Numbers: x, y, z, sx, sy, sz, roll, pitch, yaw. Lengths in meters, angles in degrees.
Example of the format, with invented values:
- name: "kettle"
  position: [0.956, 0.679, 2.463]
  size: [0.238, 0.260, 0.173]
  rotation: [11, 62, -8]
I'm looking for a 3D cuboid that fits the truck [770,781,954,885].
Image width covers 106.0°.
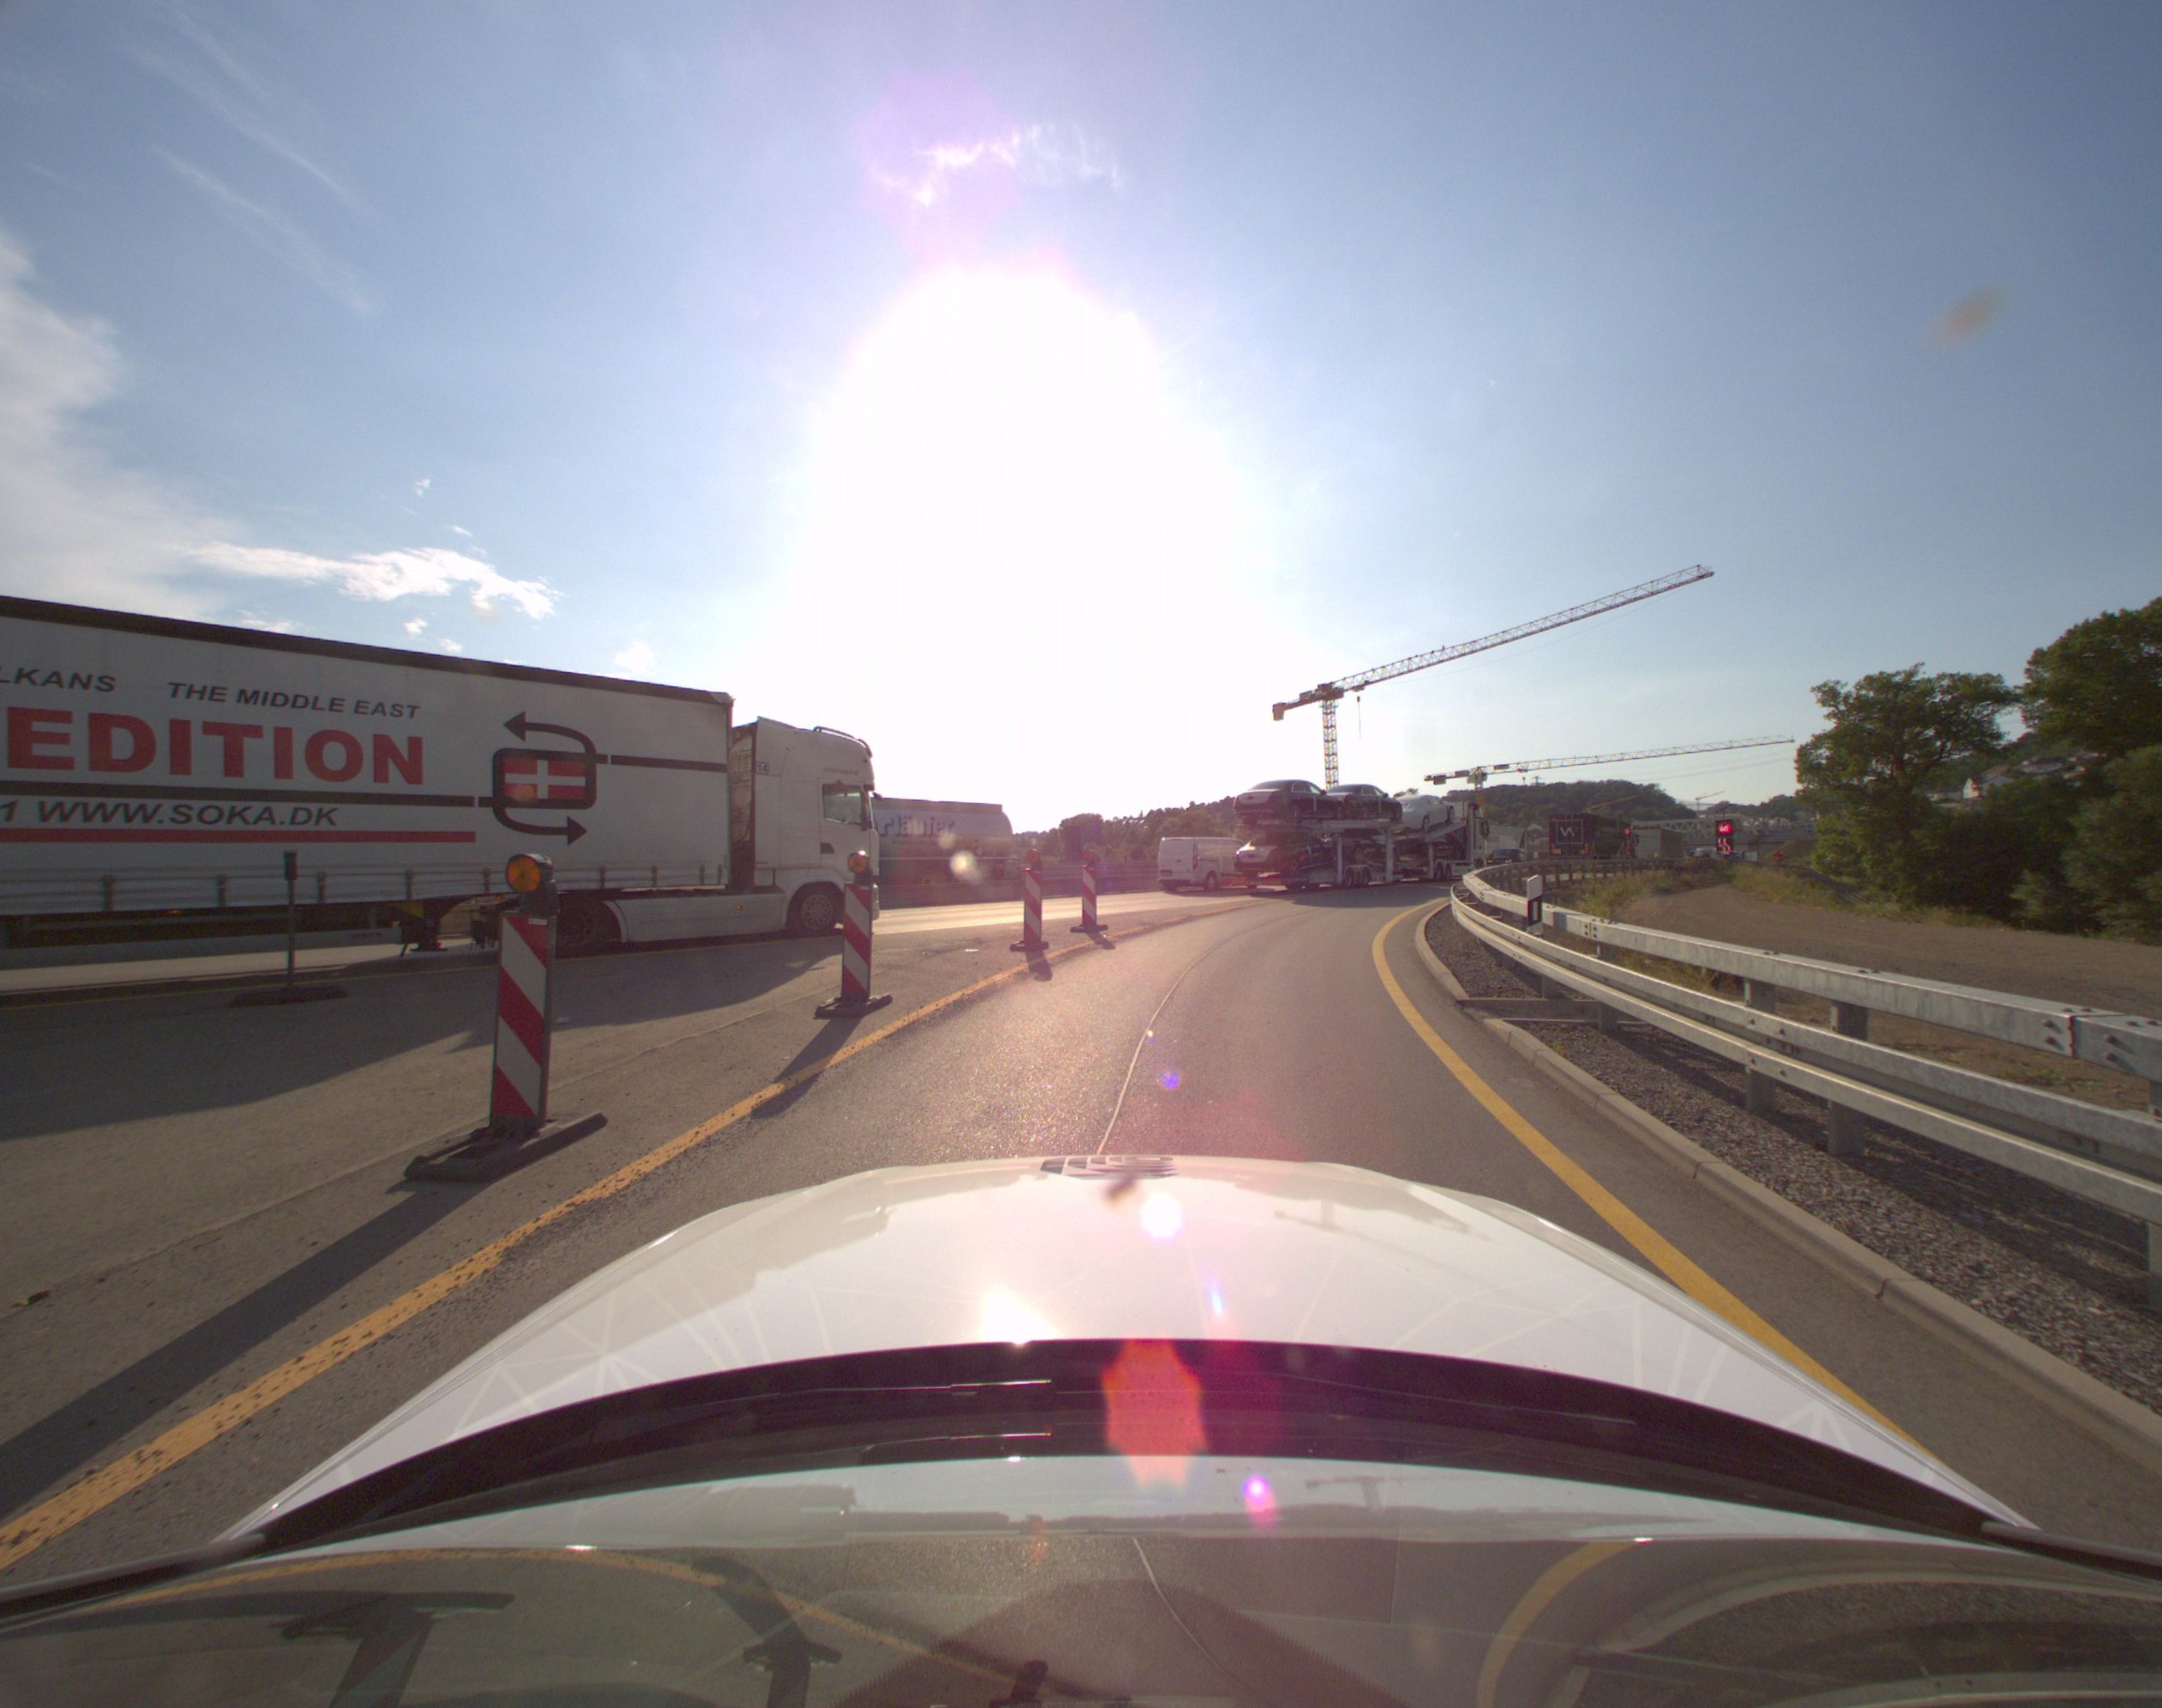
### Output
- name: "truck"
  position: [-7.274, -0.598, 27.632]
  size: [2.120, 3.135, 5.722]
  rotation: [-4, -3, 43]

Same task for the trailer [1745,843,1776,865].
- name: "trailer"
  position: [143.705, 0.071, 172.109]
  size: [4.058, 4.314, 14.336]
  rotation: [-3, -2, 43]

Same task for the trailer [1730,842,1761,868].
- name: "trailer"
  position: [117.033, 0.253, 143.375]
  size: [3.074, 4.314, 14.336]
  rotation: [-3, -2, 43]

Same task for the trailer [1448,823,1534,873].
- name: "trailer"
  position: [37.217, -0.465, 73.541]
  size: [2.603, 4.067, 14.162]
  rotation: [-4, -3, 44]

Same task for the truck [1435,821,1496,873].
- name: "truck"
  position: [32.327, -0.497, 68.440]
  size: [2.603, 4.067, 6.166]
  rotation: [-4, -4, 44]

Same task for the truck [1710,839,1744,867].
- name: "truck"
  position: [96.137, -0.123, 121.152]
  size: [3.358, 3.997, 6.664]
  rotation: [-3, -2, 43]

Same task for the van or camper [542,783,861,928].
- name: "van or camper"
  position: [-7.899, 0.061, 17.599]
  size: [1.975, 2.620, 5.939]
  rotation: [-2, -2, 43]

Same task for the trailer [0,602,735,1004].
- name: "trailer"
  position: [-11.123, -0.465, 8.911]
  size: [2.457, 3.879, 13.712]
  rotation: [-2, -2, 43]

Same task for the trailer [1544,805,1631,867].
- name: "trailer"
  position: [37.116, -1.153, 59.416]
  size: [2.931, 4.092, 10.856]
  rotation: [-4, -3, 44]

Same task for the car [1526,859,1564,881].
- name: "car"
  position: [37.560, 1.313, 65.839]
  size: [1.812, 1.654, 4.024]
  rotation: [-4, -3, 41]

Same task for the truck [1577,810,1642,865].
- name: "truck"
  position: [41.502, -1.195, 63.879]
  size: [2.858, 3.997, 6.663]
  rotation: [-3, -2, 44]

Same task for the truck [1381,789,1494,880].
- name: "truck"
  position: [17.281, -0.796, 39.290]
  size: [2.821, 3.997, 6.664]
  rotation: [-3, -2, 43]

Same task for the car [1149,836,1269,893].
- name: "car"
  position: [4.965, 0.365, 31.069]
  size: [2.010, 1.981, 5.008]
  rotation: [0, 0, 44]

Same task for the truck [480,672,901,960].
- name: "truck"
  position: [-6.362, -0.466, 14.016]
  size: [2.457, 3.879, 6.047]
  rotation: [-2, -2, 43]

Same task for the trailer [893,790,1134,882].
- name: "trailer"
  position: [-2.270, -0.555, 32.939]
  size: [2.120, 3.135, 11.047]
  rotation: [-4, -3, 43]

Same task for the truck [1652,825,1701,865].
- name: "truck"
  position: [63.240, -0.851, 86.447]
  size: [3.312, 3.997, 6.664]
  rotation: [-3, -2, 43]

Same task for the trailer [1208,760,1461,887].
- name: "trailer"
  position: [10.817, -0.864, 32.402]
  size: [2.830, 3.997, 15.839]
  rotation: [-3, -2, 43]

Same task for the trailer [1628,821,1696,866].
- name: "trailer"
  position: [57.495, -0.904, 80.341]
  size: [3.353, 3.997, 14.833]
  rotation: [-3, -2, 43]

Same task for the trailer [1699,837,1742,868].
- name: "trailer"
  position: [90.793, -0.153, 115.482]
  size: [3.353, 3.997, 14.833]
  rotation: [-3, -2, 43]
